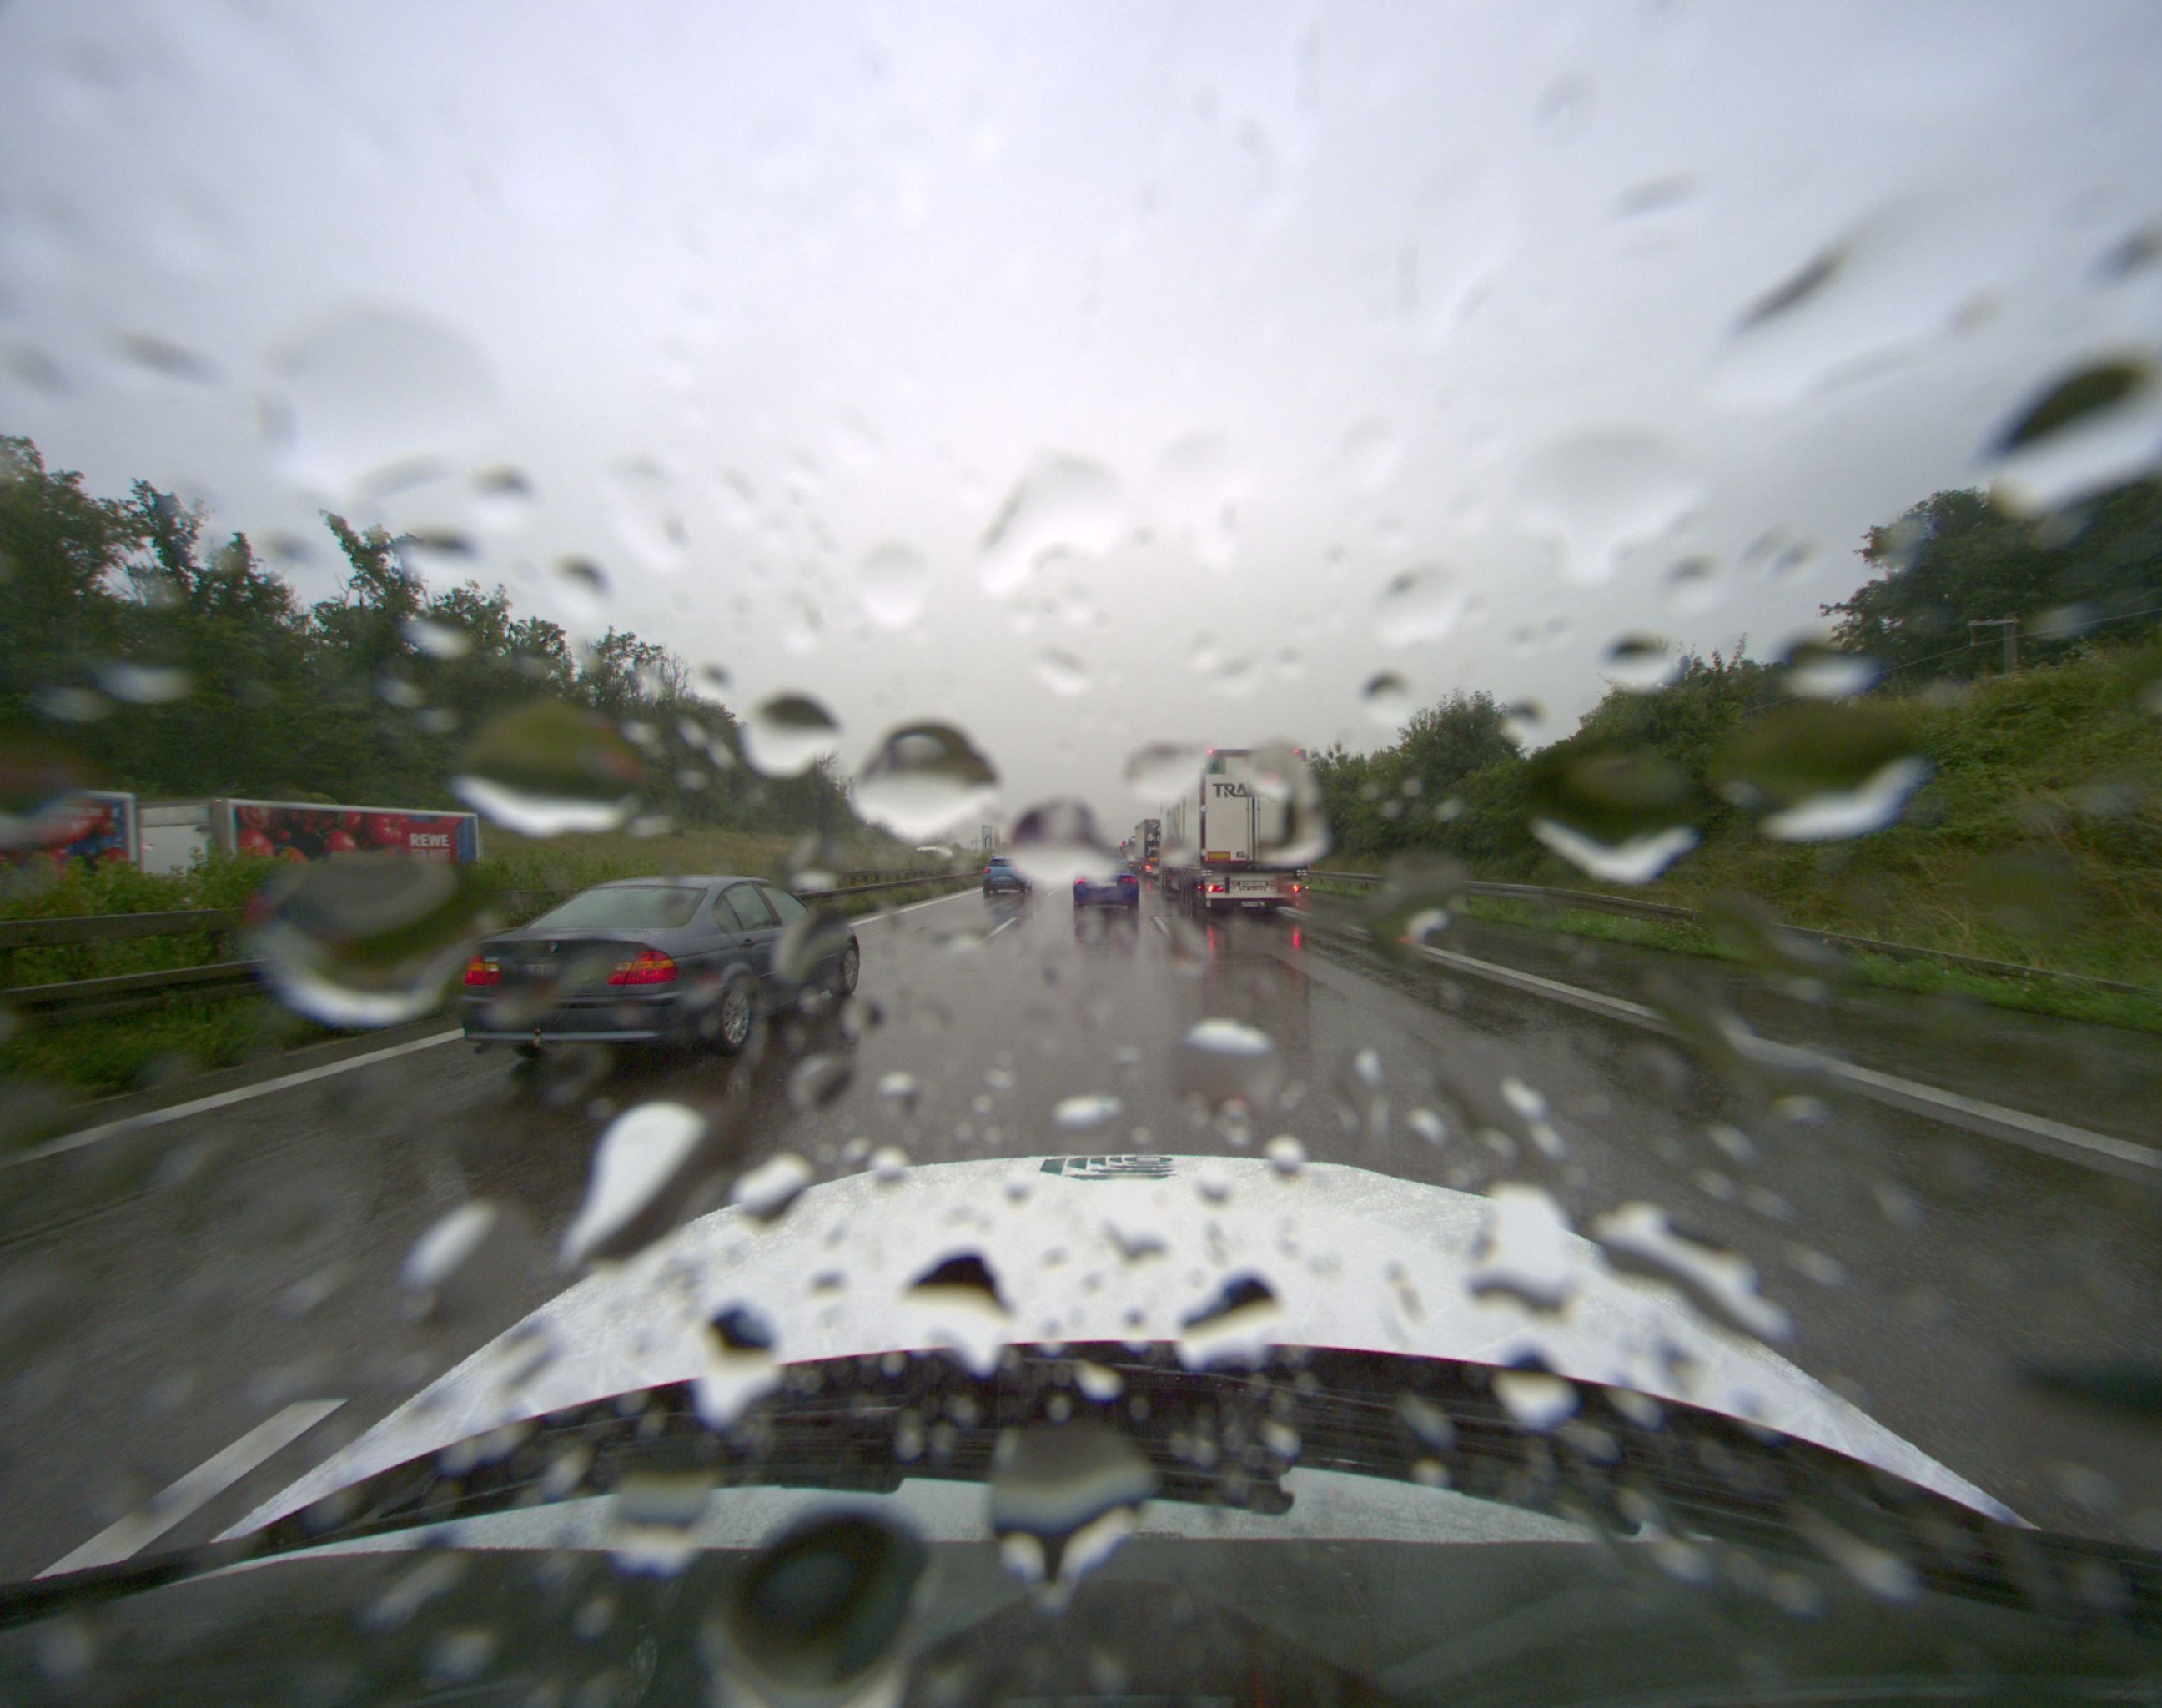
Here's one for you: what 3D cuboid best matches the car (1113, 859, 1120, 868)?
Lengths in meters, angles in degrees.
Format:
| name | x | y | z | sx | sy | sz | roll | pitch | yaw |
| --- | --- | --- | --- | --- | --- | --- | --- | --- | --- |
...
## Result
| name | x | y | z | sx | sy | sz | roll | pitch | yaw |
| --- | --- | --- | --- | --- | --- | --- | --- | --- | --- |
| car | 6.937 | 1.809 | 157.446 | 1.244 | 1.512 | 3.109 | -2 | 1 | 1 |

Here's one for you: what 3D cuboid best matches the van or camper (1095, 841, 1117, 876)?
| name | x | y | z | sx | sy | sz | roll | pitch | yaw |
| --- | --- | --- | --- | --- | --- | --- | --- | --- | --- |
| van or camper | 2.104 | 0.386 | 68.525 | 1.791 | 2.806 | 4.769 | -1 | 0 | 2 |

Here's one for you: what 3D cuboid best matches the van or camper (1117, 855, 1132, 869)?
| name | x | y | z | sx | sy | sz | roll | pitch | yaw |
| --- | --- | --- | --- | --- | --- | --- | --- | --- | --- |
| van or camper | 5.620 | 1.022 | 105.268 | 1.765 | 1.625 | 4.485 | -1 | 0 | 1 |

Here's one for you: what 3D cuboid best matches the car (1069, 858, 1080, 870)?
| name | x | y | z | sx | sy | sz | roll | pitch | yaw |
| --- | --- | --- | --- | --- | --- | --- | --- | --- | --- |
| car | -0.958 | 1.492 | 122.891 | 1.443 | 1.784 | 3.410 | 0 | -1 | 2 |

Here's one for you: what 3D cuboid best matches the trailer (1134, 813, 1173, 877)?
| name | x | y | z | sx | sy | sz | roll | pitch | yaw |
| --- | --- | --- | --- | --- | --- | --- | --- | --- | --- |
| trailer | 5.079 | -0.585 | 58.768 | 2.039 | 4.176 | 11.452 | -1 | 0 | 2 |

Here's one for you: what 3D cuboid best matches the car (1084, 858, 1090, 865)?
| name | x | y | z | sx | sy | sz | roll | pitch | yaw |
| --- | --- | --- | --- | --- | --- | --- | --- | --- | --- |
| car | 1.421 | 1.714 | 188.486 | 1.443 | 1.784 | 3.410 | 0 | -1 | 2 |

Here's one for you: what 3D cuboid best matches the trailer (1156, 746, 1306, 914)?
| name | x | y | z | sx | sy | sz | roll | pitch | yaw |
| --- | --- | --- | --- | --- | --- | --- | --- | --- | --- |
| trailer | 4.301 | -0.590 | 27.018 | 2.621 | 4.013 | 14.634 | -1 | 0 | 2 |

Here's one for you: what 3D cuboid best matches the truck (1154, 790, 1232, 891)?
| name | x | y | z | sx | sy | sz | roll | pitch | yaw |
| --- | --- | --- | --- | --- | --- | --- | --- | --- | --- |
| truck | 4.488 | -0.508 | 33.456 | 2.621 | 3.827 | 4.793 | -1 | 0 | 1 |

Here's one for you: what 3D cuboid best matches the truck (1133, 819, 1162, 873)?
| name | x | y | z | sx | sy | sz | roll | pitch | yaw |
| --- | --- | --- | --- | --- | --- | --- | --- | --- | --- |
| truck | 5.256 | -0.607 | 65.033 | 2.039 | 4.193 | 4.001 | -1 | 0 | 1 |

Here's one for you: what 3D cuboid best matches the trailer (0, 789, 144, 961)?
| name | x | y | z | sx | sy | sz | roll | pitch | yaw |
| --- | --- | --- | --- | --- | --- | --- | --- | --- | --- |
| trailer | -20.416 | 0.388 | 11.992 | 1.986 | 3.082 | 9.558 | -1 | 0 | 2 |

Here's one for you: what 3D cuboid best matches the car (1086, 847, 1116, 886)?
| name | x | y | z | sx | sy | sz | roll | pitch | yaw |
| --- | --- | --- | --- | --- | --- | --- | --- | --- | --- |
| car | 0.982 | 0.572 | 39.385 | 1.332 | 1.780 | 3.323 | -1 | 0 | 2 |

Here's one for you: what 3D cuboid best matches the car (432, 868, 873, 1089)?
| name | x | y | z | sx | sy | sz | roll | pitch | yaw |
| --- | --- | --- | --- | --- | --- | --- | --- | --- | --- |
| car | -3.412 | 0.873 | 7.564 | 1.711 | 1.400 | 4.232 | -1 | 0 | 2 |

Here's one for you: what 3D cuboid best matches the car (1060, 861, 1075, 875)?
| name | x | y | z | sx | sy | sz | roll | pitch | yaw |
| --- | --- | --- | --- | --- | --- | --- | --- | --- | --- |
| car | -1.453 | 1.529 | 90.101 | 1.434 | 1.533 | 3.323 | -1 | 0 | 1 |

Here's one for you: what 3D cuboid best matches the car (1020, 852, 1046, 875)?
| name | x | y | z | sx | sy | sz | roll | pitch | yaw |
| --- | --- | --- | --- | --- | --- | --- | --- | --- | --- |
| car | -3.067 | 0.573 | 52.712 | 1.354 | 1.431 | 3.365 | -1 | 0 | 2 |

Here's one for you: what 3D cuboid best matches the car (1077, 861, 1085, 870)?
| name | x | y | z | sx | sy | sz | roll | pitch | yaw |
| --- | --- | --- | --- | --- | --- | --- | --- | --- | --- |
| car | 0.014 | 2.265 | 162.452 | 1.443 | 1.784 | 3.410 | 0 | -1 | 2 |

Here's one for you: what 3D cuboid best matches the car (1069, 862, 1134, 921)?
| name | x | y | z | sx | sy | sz | roll | pitch | yaw |
| --- | --- | --- | --- | --- | --- | --- | --- | --- | --- |
| car | 0.612 | 0.970 | 22.728 | 1.629 | 1.445 | 4.002 | -1 | 0 | 2 |

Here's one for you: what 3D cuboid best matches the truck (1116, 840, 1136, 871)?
| name | x | y | z | sx | sy | sz | roll | pitch | yaw |
| --- | --- | --- | --- | --- | --- | --- | --- | --- | --- |
| truck | 5.235 | 0.123 | 95.372 | 1.987 | 3.421 | 8.032 | -1 | 0 | 0 |

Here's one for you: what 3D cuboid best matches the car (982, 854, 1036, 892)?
| name | x | y | z | sx | sy | sz | roll | pitch | yaw |
| --- | --- | --- | --- | --- | --- | --- | --- | --- | --- |
| car | -2.988 | 0.770 | 34.535 | 1.715 | 1.523 | 4.002 | -1 | 0 | 2 |

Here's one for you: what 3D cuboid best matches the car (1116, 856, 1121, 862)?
| name | x | y | z | sx | sy | sz | roll | pitch | yaw |
| --- | --- | --- | --- | --- | --- | --- | --- | --- | --- |
| car | 10.789 | 1.350 | 232.854 | 1.443 | 1.784 | 3.410 | 0 | -1 | 2 |

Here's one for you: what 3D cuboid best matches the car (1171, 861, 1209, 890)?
| name | x | y | z | sx | sy | sz | roll | pitch | yaw |
| --- | --- | --- | --- | --- | --- | --- | --- | --- | --- |
| car | 5.226 | 1.029 | 39.383 | 1.418 | 1.288 | 3.462 | -1 | 0 | 2 |

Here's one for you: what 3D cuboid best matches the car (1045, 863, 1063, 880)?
| name | x | y | z | sx | sy | sz | roll | pitch | yaw |
| --- | --- | --- | --- | --- | --- | --- | --- | --- | --- |
| car | -2.469 | 1.609 | 74.819 | 1.434 | 1.420 | 3.323 | -1 | 0 | 1 |

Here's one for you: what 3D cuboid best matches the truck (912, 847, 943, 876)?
| name | x | y | z | sx | sy | sz | roll | pitch | yaw |
| --- | --- | --- | --- | --- | --- | --- | --- | --- | --- |
| truck | -18.336 | 0.937 | 97.691 | 2.532 | 3.280 | 5.198 | -3 | -1 | 1 |

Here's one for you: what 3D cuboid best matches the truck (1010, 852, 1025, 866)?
| name | x | y | z | sx | sy | sz | roll | pitch | yaw |
| --- | --- | --- | --- | --- | --- | --- | --- | --- | --- |
| truck | -12.523 | 1.022 | 160.980 | 2.472 | 2.719 | 4.530 | -3 | -2 | 2 |

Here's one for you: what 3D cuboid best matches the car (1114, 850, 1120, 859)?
| name | x | y | z | sx | sy | sz | roll | pitch | yaw |
| --- | --- | --- | --- | --- | --- | --- | --- | --- | --- |
| car | 7.879 | 0.032 | 179.353 | 1.331 | 1.890 | 3.041 | -2 | 0 | 1 |

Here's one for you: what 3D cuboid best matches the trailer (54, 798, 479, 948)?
| name | x | y | z | sx | sy | sz | roll | pitch | yaw |
| --- | --- | --- | --- | --- | --- | --- | --- | --- | --- |
| trailer | -20.157 | 0.402 | 21.295 | 1.986 | 3.082 | 8.875 | -1 | 0 | 2 |
